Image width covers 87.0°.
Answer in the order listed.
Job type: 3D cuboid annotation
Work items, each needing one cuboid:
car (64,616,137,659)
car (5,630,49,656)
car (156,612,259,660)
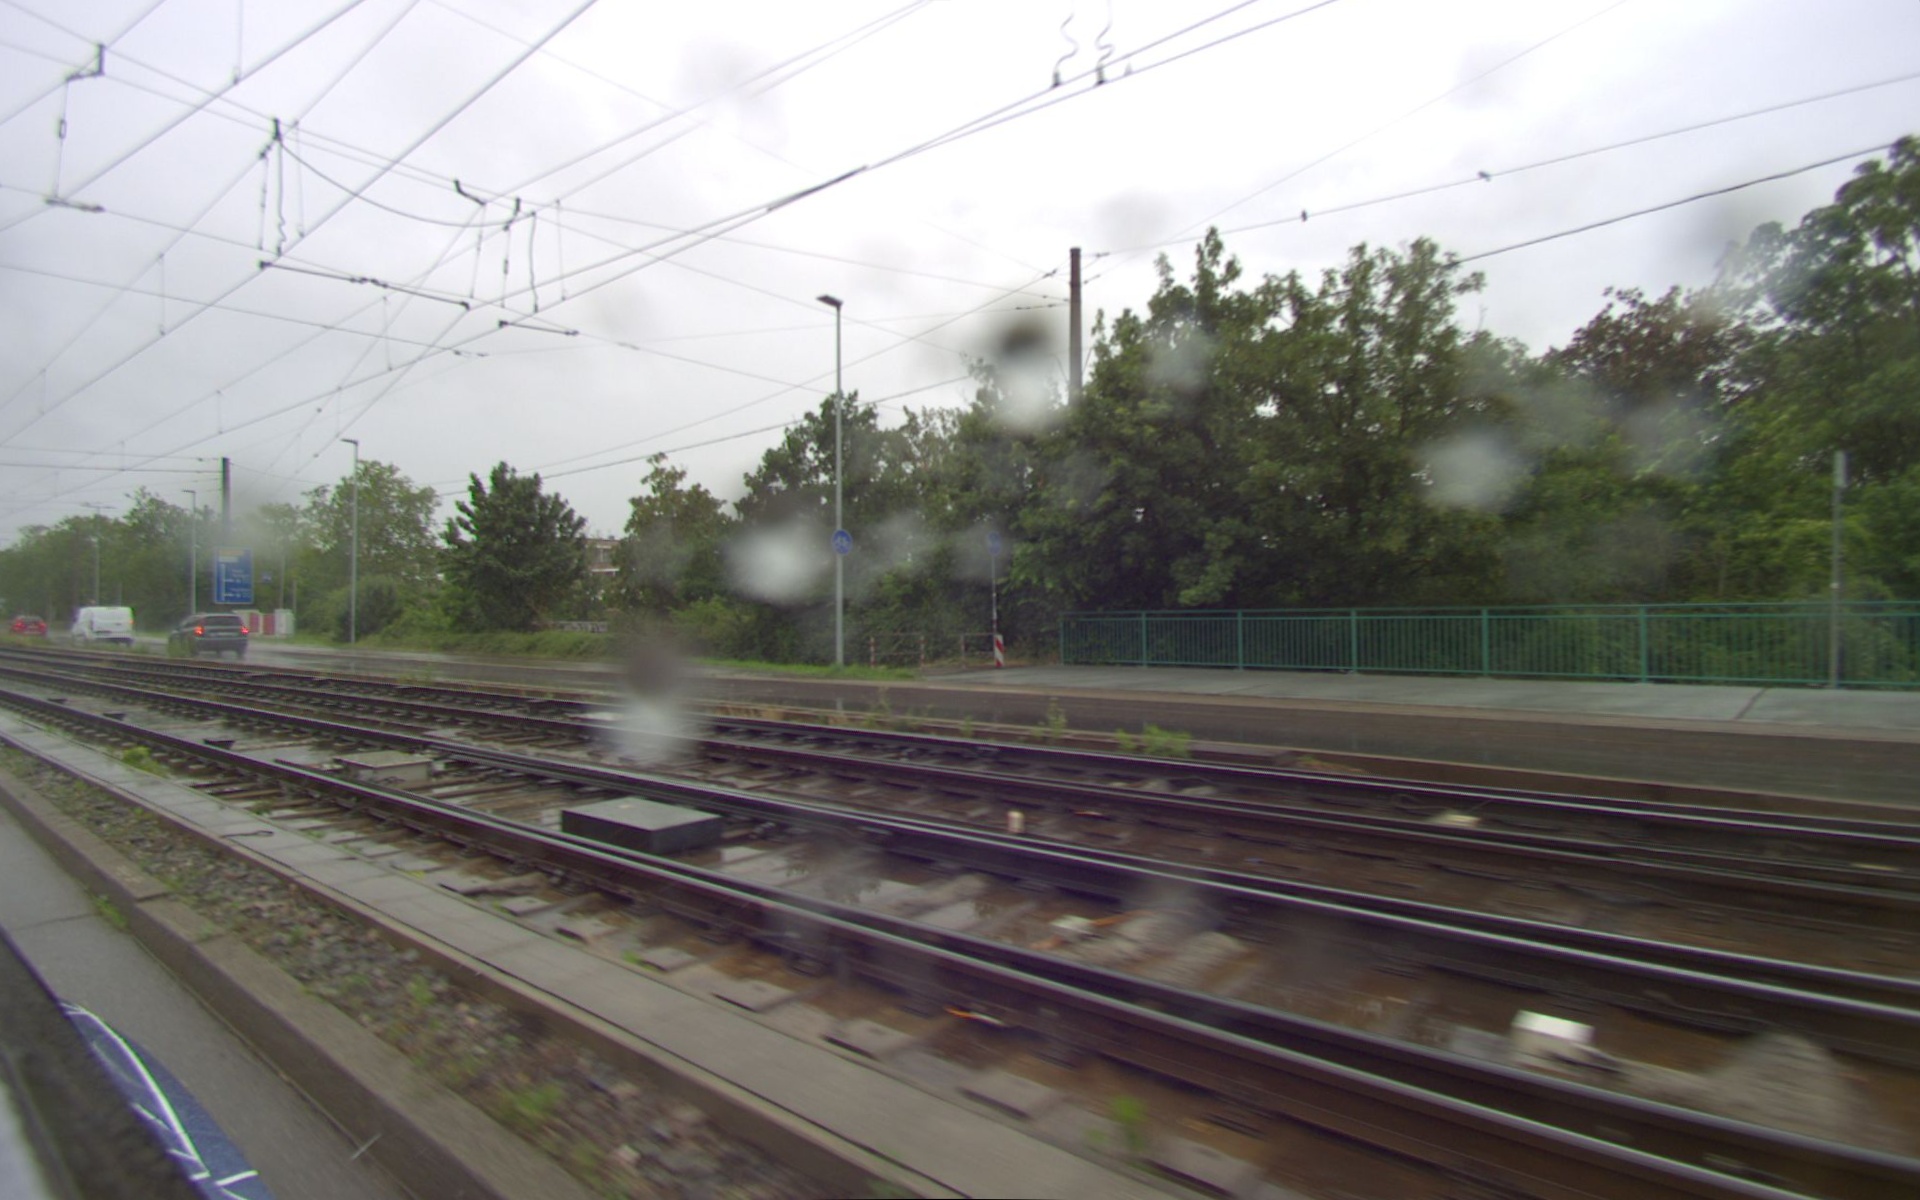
[{"bbox_3d":[-44.548,1.906,52.423,5.023,2.059,1.974,-1,0,39],"label":"car"},{"bbox_3d":[-63.528,2.916,68.913,3.647,1.613,1.707,-1,1,39],"label":"car"},{"bbox_3d":[-29.331,1.372,39.381,5.366,1.661,1.974,-1,0,39],"label":"car"}]
